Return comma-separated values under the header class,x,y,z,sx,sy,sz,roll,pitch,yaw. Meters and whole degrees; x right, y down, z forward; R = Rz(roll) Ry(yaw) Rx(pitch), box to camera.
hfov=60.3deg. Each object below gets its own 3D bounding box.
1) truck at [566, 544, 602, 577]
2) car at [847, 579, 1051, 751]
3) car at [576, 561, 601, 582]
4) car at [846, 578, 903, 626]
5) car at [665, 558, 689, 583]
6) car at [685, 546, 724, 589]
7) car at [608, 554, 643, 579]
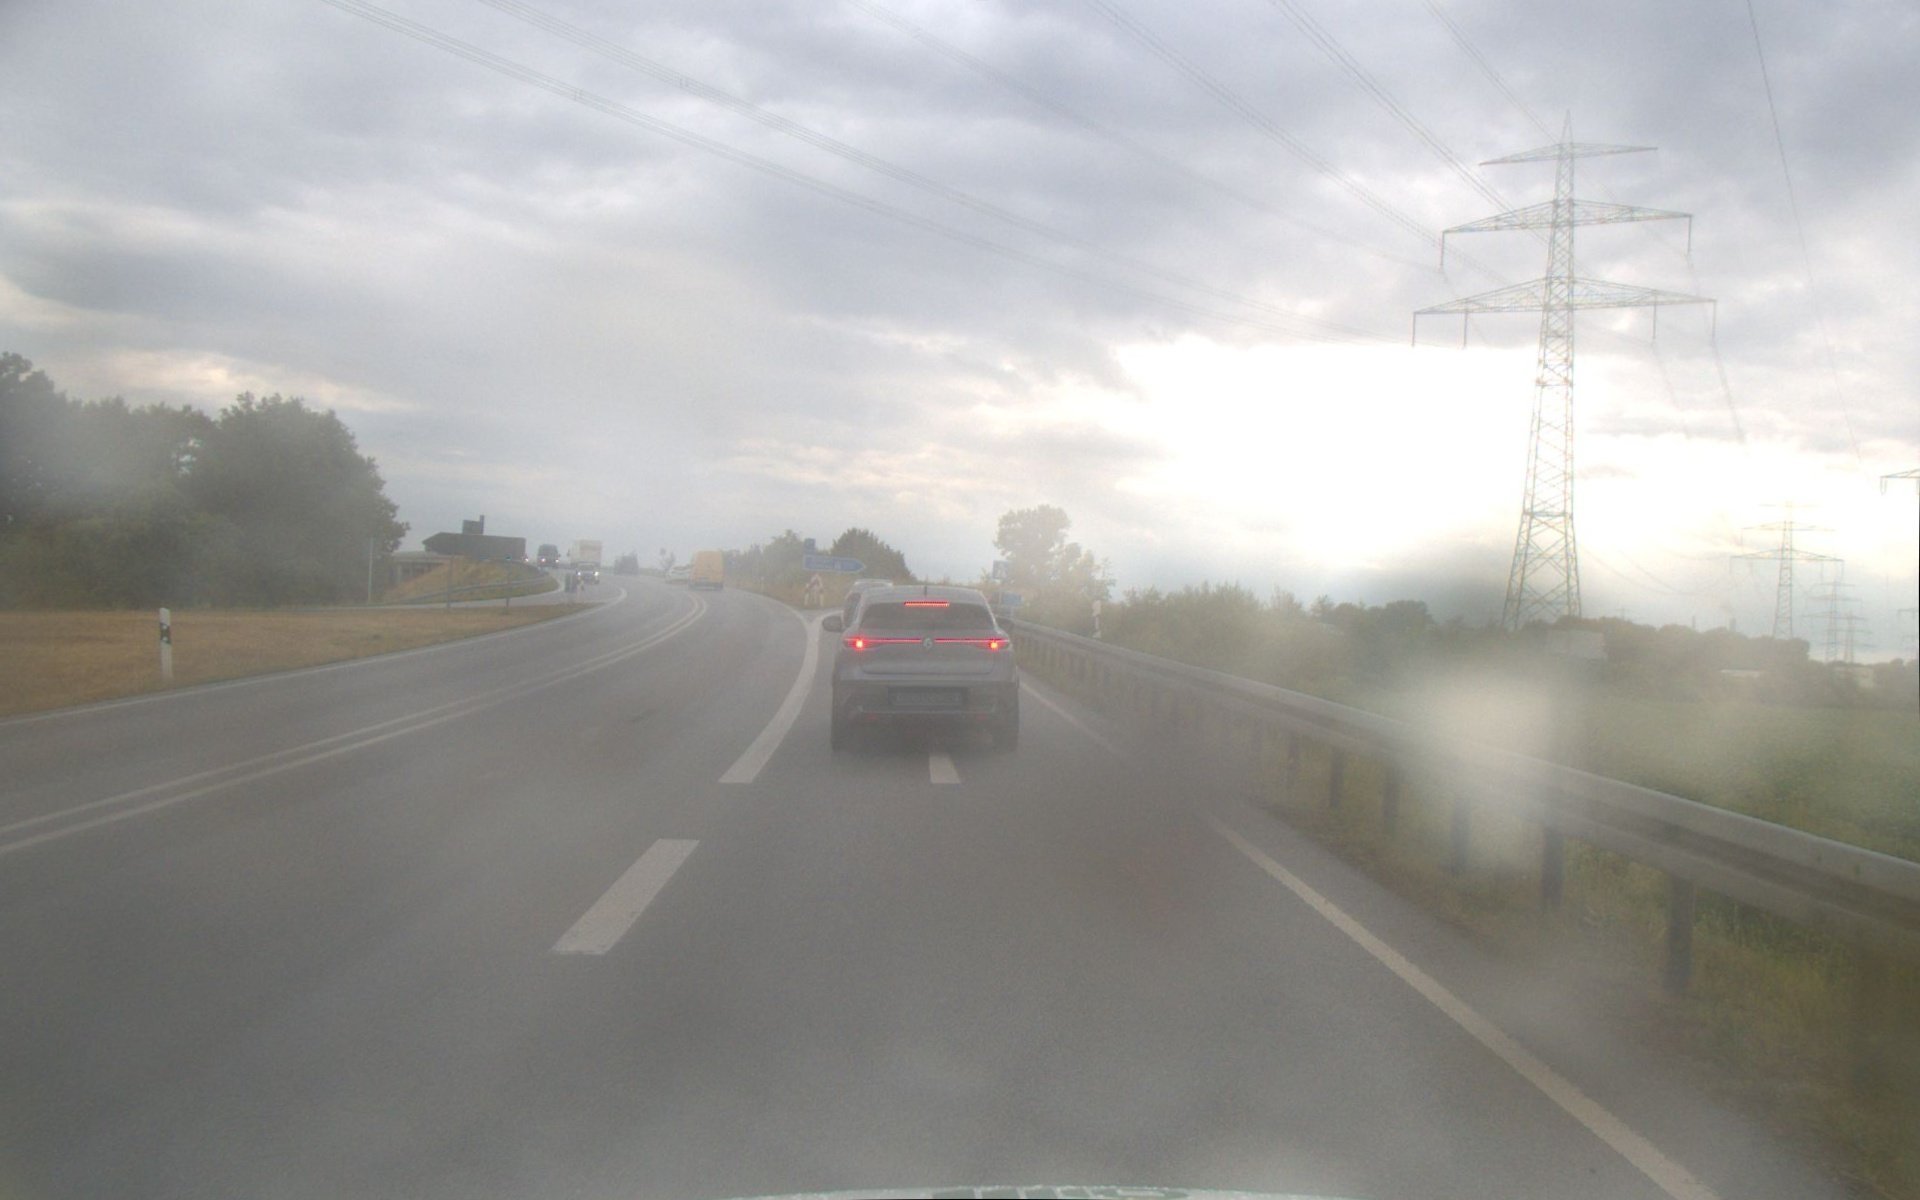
class,x,y,z,sx,sy,sz,roll,pitch,yaw
truck,-44.405,-4.643,195.172,3.003,3.444,7.593,2,-2,-22
car,-0.203,0.588,16.394,1.756,1.466,3.997,1,-1,-3
car,-27.455,-2.071,122.238,1.714,1.389,4.037,-2,0,-13
car,-2.789,0.094,54.291,1.755,1.466,3.998,1,-1,-2
car,-22.079,-2.300,129.204,1.758,1.717,3.991,2,-1,-9
car,-17.038,-2.164,110.292,2.525,2.772,7.182,0,1,-9
car,-34.165,-3.393,168.723,2.566,2.290,5.498,2,-1,-22
